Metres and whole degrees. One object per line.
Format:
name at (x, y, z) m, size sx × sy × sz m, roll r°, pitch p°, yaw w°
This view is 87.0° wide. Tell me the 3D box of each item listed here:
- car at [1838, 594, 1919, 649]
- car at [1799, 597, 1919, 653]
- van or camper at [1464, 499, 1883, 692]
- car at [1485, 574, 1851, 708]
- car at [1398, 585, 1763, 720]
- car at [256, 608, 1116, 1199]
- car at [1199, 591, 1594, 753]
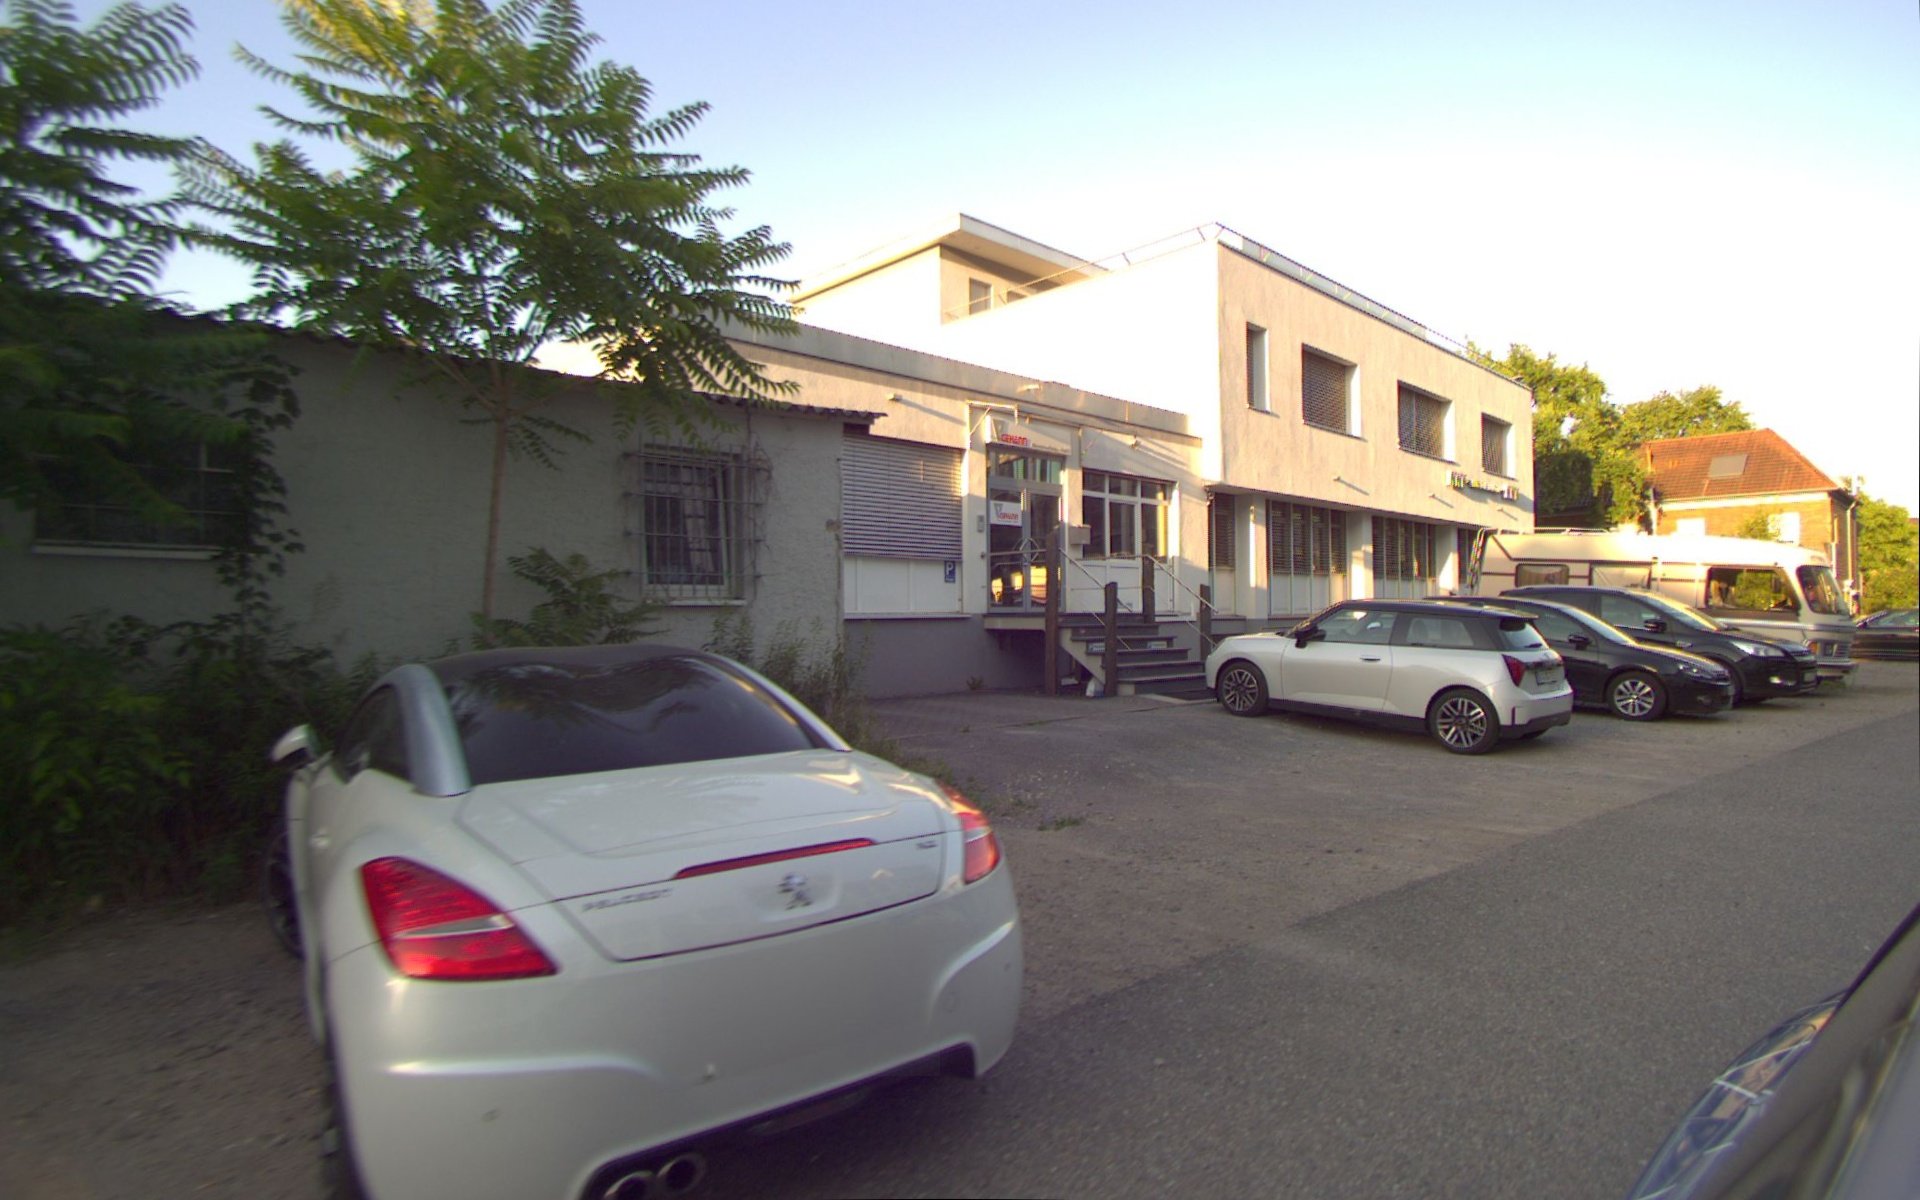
car at (26.083, 0.576, 26.809) m, size 1.863 × 1.425 × 4.062 m, roll 1°, pitch 0°, yaw -41°
car at (24.085, 0.615, 25.498) m, size 1.863 × 1.350 × 4.322 m, roll 0°, pitch 1°, yaw -41°
van or camper at (12.583, -0.097, 18.269) m, size 2.443 × 2.900 × 5.790 m, roll 0°, pitch 0°, yaw -41°
car at (10.736, 0.518, 15.662) m, size 1.930 × 1.763 × 4.255 m, roll 0°, pitch 1°, yaw -35°
car at (8.373, 0.603, 13.920) m, size 1.683 × 1.583 × 4.008 m, roll 0°, pitch 0°, yaw -43°
car at (-1.550, 0.777, 3.851) m, size 1.789 × 1.385 × 4.214 m, roll 0°, pitch -2°, yaw -36°
car at (4.710, 0.651, 11.296) m, size 1.682 × 1.497 × 3.711 m, roll 0°, pitch 0°, yaw -41°
